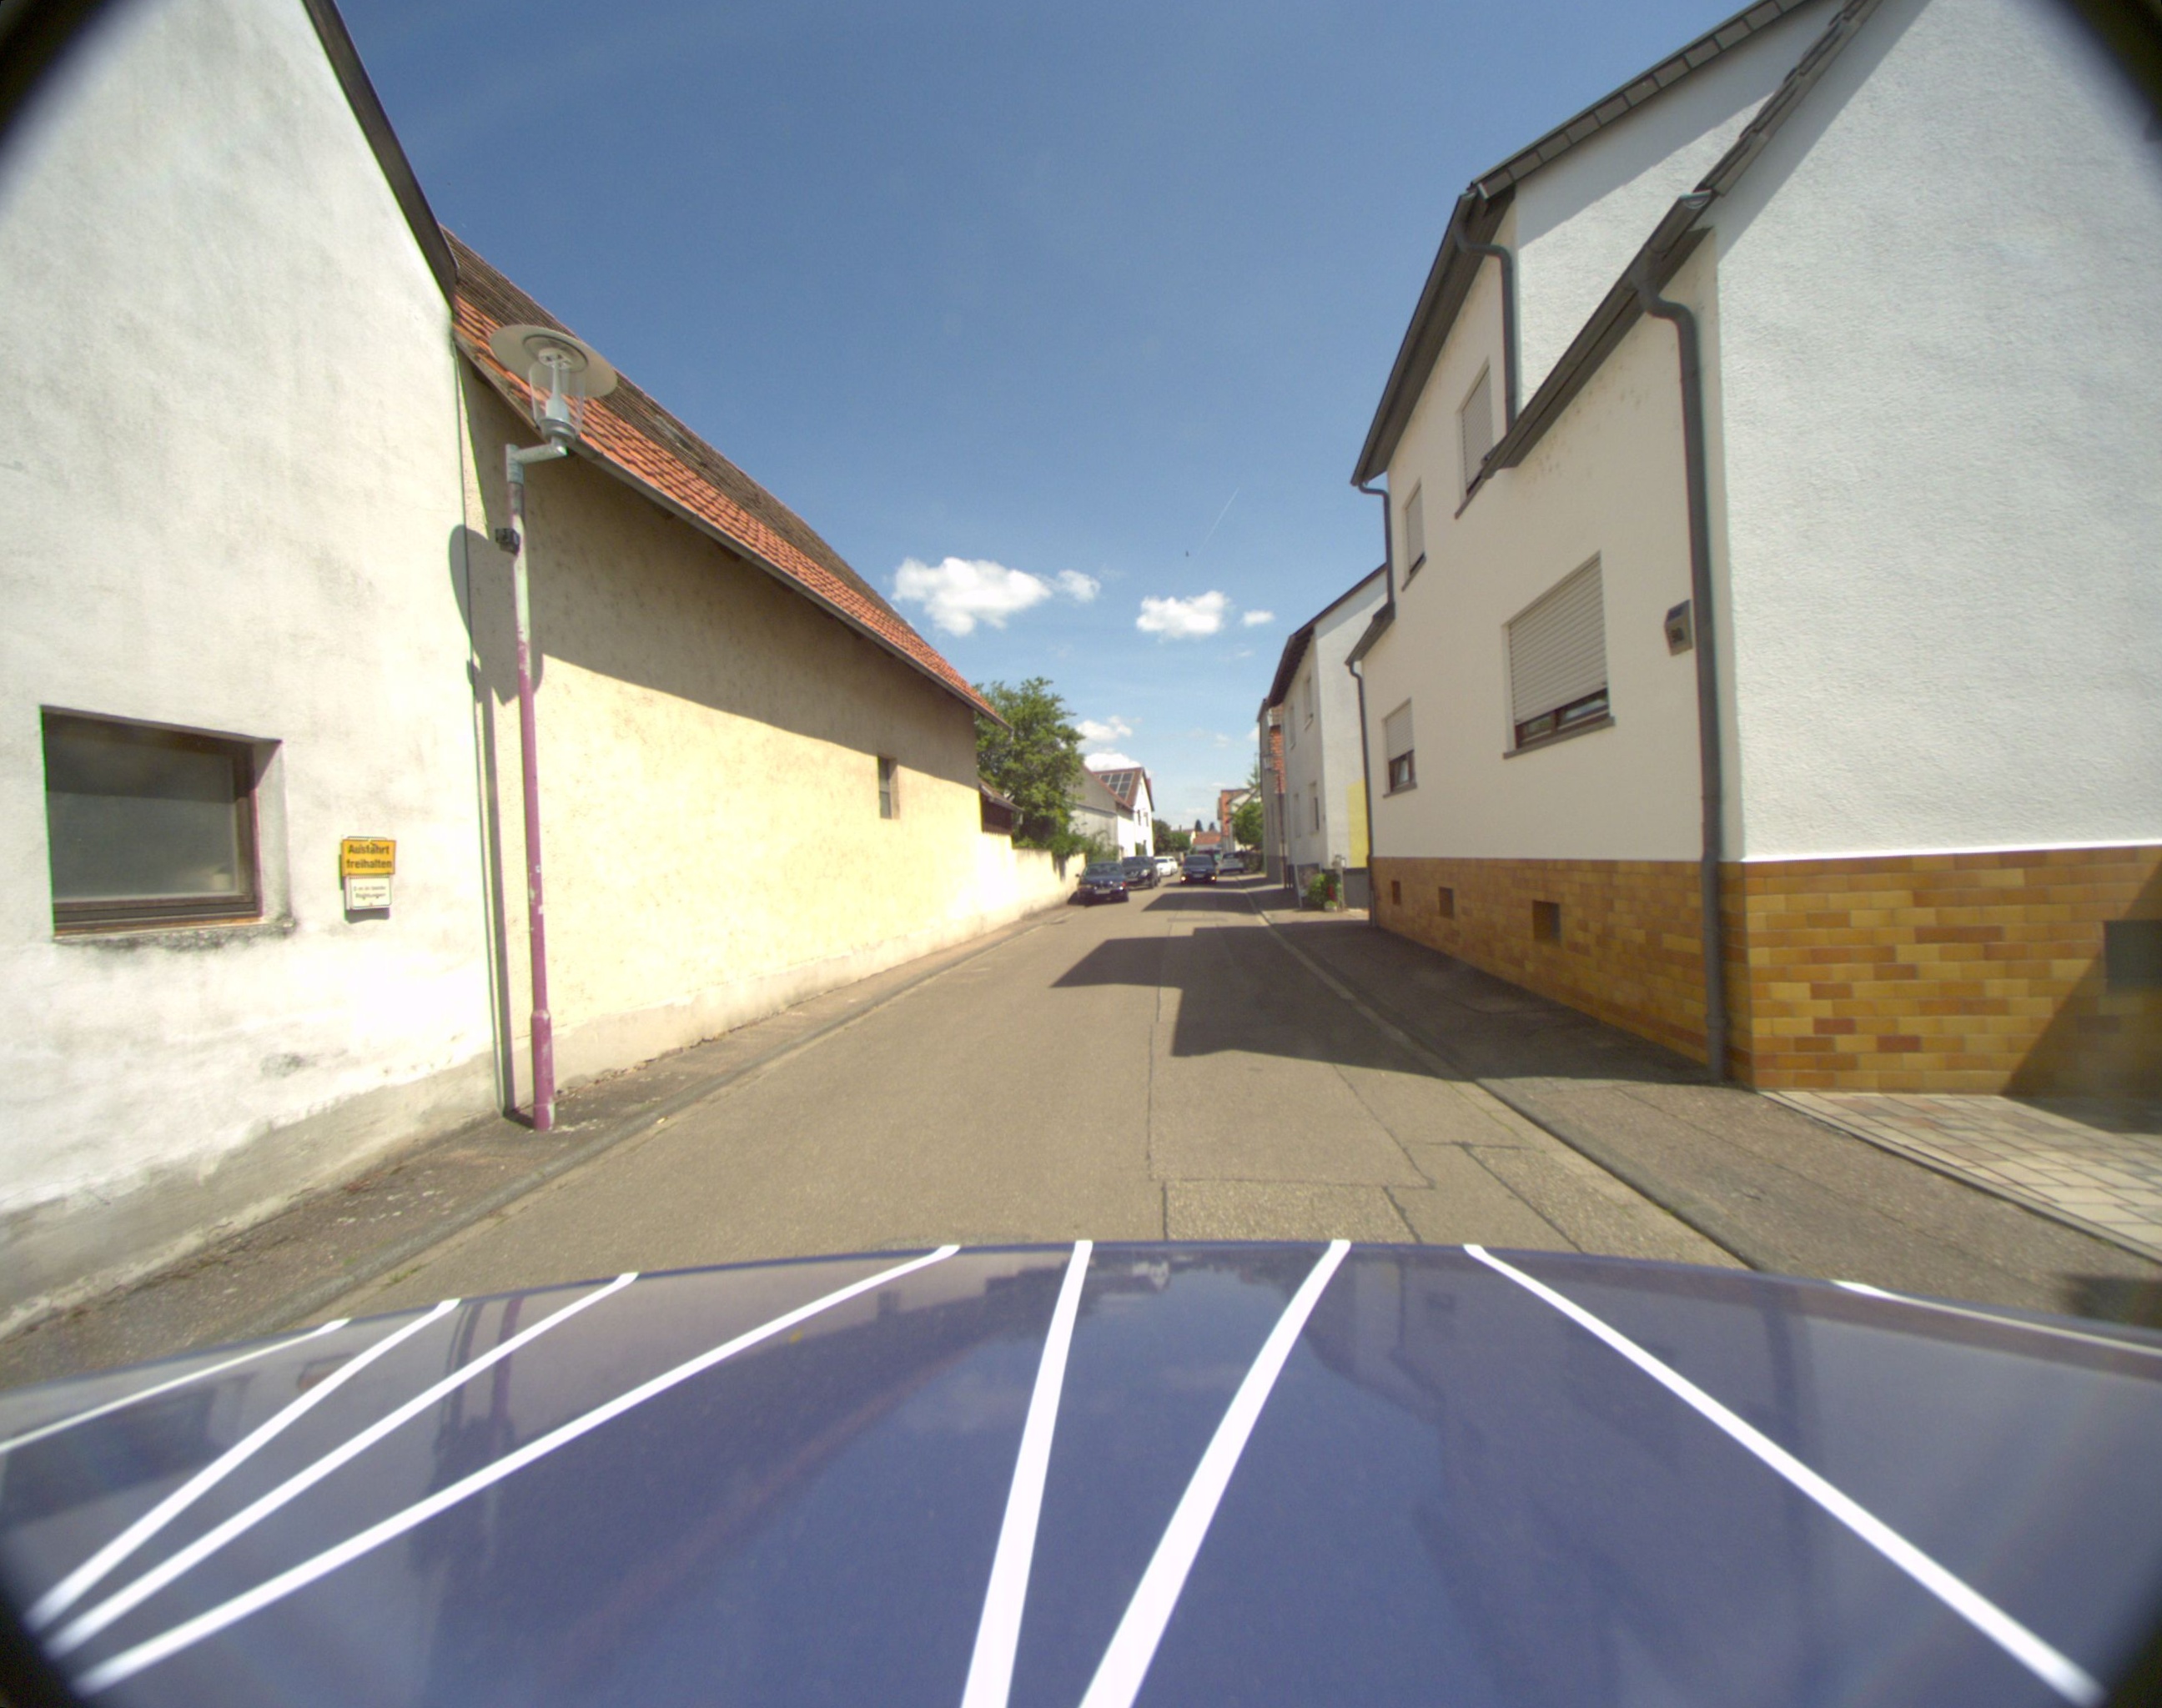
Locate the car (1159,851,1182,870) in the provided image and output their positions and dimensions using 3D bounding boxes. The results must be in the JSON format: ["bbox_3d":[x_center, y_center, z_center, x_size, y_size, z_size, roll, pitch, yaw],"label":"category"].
[{"bbox_3d":[8.130,0.584,68.791,1.783,1.492,4.041,-6,0,10],"label":"car"}]

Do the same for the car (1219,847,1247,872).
[{"bbox_3d":[10.928,0.369,54.779,1.783,1.600,4.002,-6,0,10],"label":"car"}]

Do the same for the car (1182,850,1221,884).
[{"bbox_3d":[6.236,0.608,39.109,1.783,1.527,4.712,-3,1,10],"label":"car"}]

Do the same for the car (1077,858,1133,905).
[{"bbox_3d":[0.897,0.926,27.264,1.784,1.471,4.001,-3,0,3],"label":"car"}]

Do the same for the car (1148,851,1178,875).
[{"bbox_3d":[6.119,0.632,56.464,1.783,1.492,4.041,-6,0,10],"label":"car"}]

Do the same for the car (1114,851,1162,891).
[{"bbox_3d":[2.774,0.750,36.221,1.783,1.600,4.002,-6,0,10],"label":"car"}]
